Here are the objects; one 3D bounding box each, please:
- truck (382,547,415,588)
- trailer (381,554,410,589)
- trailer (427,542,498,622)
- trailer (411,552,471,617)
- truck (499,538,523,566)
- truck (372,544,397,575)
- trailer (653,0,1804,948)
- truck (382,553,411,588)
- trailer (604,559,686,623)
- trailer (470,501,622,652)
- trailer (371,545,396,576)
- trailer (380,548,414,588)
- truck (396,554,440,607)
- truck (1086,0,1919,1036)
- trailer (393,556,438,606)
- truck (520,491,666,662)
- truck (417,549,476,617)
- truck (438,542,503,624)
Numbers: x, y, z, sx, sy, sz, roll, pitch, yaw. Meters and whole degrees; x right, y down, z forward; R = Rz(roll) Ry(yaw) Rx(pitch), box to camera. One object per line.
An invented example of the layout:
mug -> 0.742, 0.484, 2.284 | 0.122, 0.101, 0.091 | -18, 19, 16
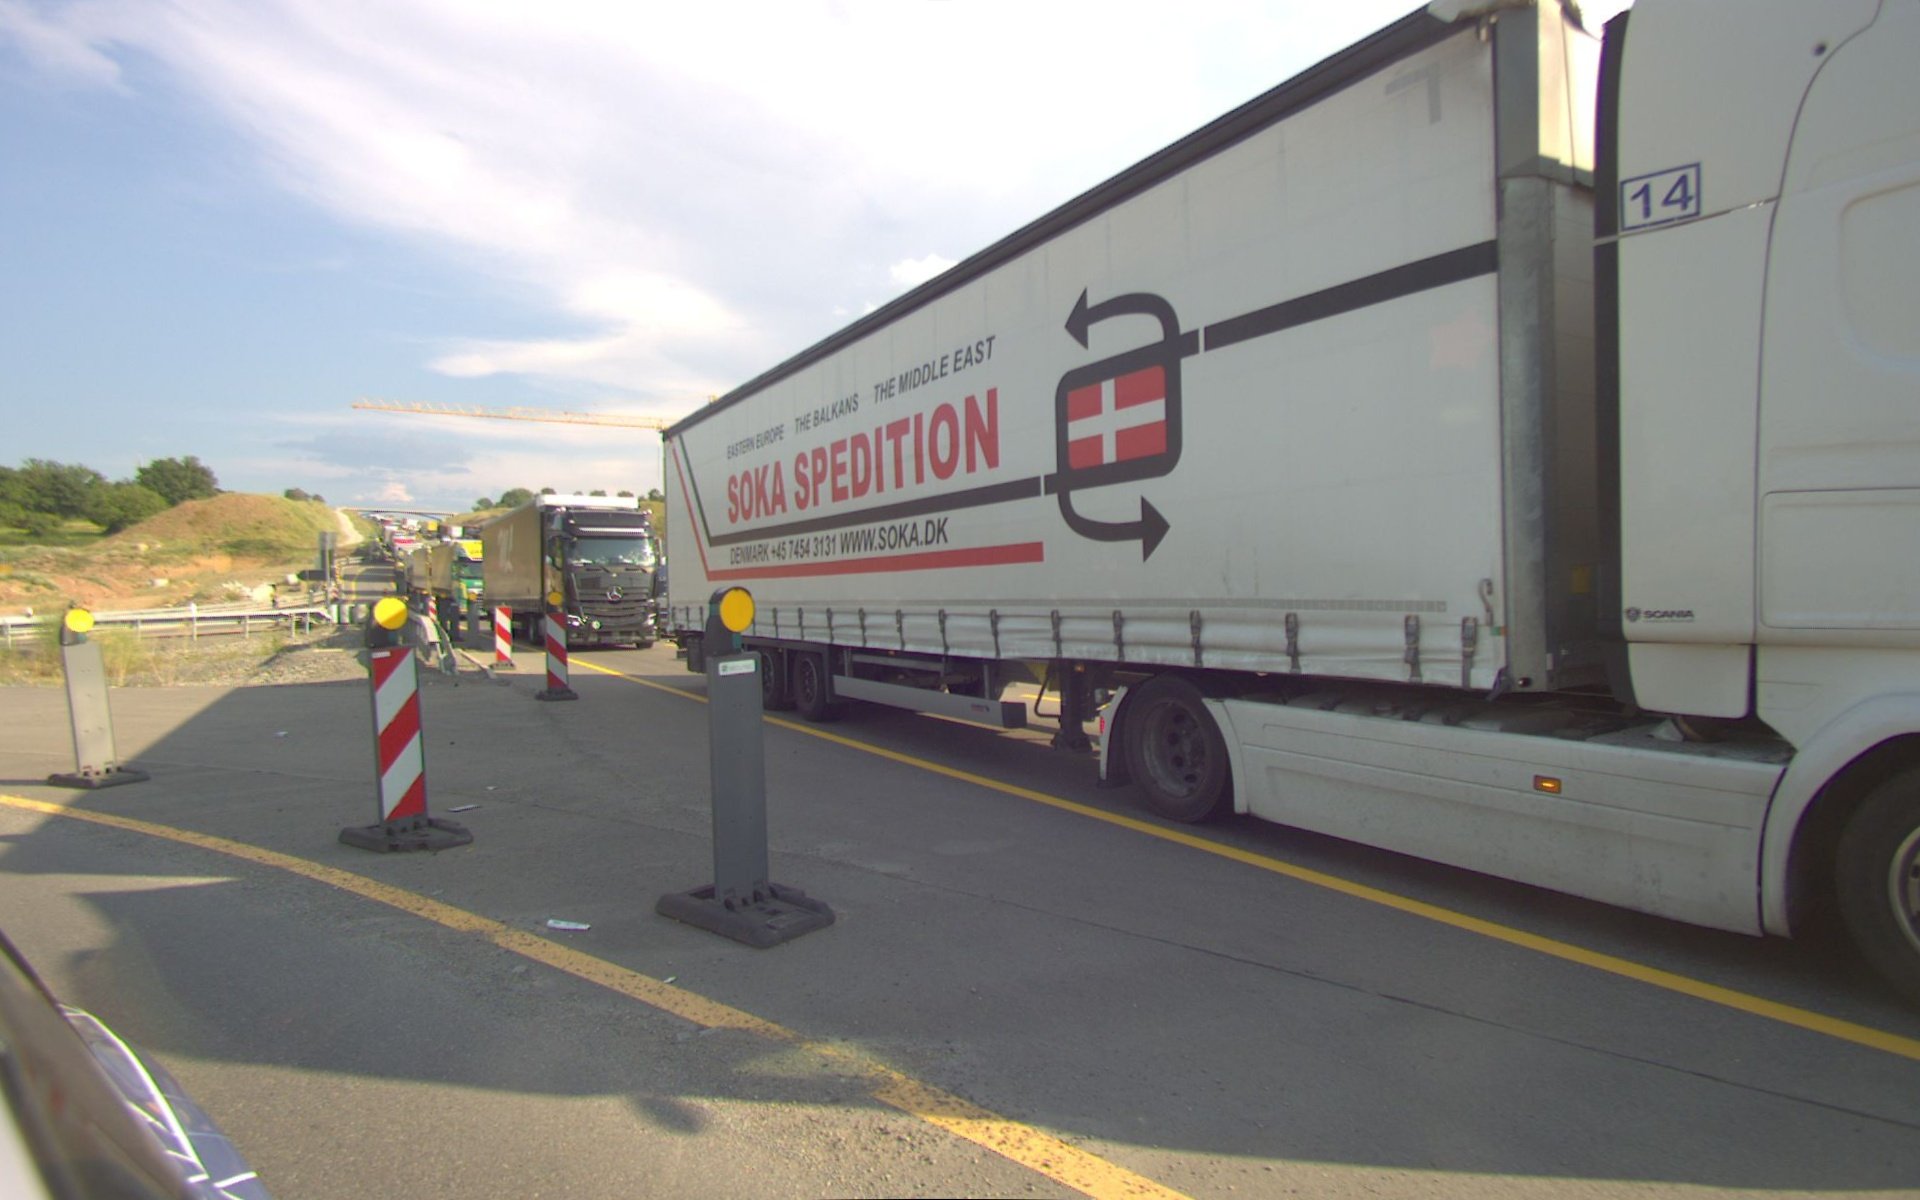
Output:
truck -> -63.403, -3.615, 114.224 | 3.060, 4.346, 6.918 | 2, 0, -30
trailer -> -77.160, -3.798, 138.179 | 3.060, 4.346, 14.295 | 2, 0, -30
trailer -> -28.212, -0.945, 57.005 | 2.446, 3.988, 14.018 | 0, 1, -31
trailer -> -38.508, -1.086, 74.788 | 3.060, 4.346, 14.295 | 2, 0, -30
truck -> -84.248, -8.952, 190.098 | 3.511, 4.445, 13.218 | 1, 0, -22
truck -> -85.202, -5.944, 149.842 | 3.060, 4.346, 6.918 | 2, 0, -30
trailer -> -0.156, -0.616, 10.537 | 2.446, 3.907, 13.671 | 0, 1, -32
truck -> -73.549, -3.780, 132.038 | 3.060, 4.346, 6.918 | 2, 0, -30
trailer -> -20.606, -0.559, 65.766 | 2.965, 3.780, 9.599 | 2, 0, -30
trailer -> -14.270, -0.701, 33.939 | 2.446, 4.092, 13.671 | 0, 1, -32
trailer -> -89.724, -6.040, 157.467 | 3.060, 4.346, 14.295 | 2, 0, -30
trailer -> -67.430, -3.683, 121.032 | 3.060, 4.346, 14.295 | 2, 0, -30
truck -> -47.484, -1.657, 88.572 | 3.060, 4.346, 6.918 | 2, 0, -30
truck -> 3.435, -0.627, 4.652 | 2.446, 3.907, 6.029 | 0, 1, -32
trailer -> -51.413, -1.698, 95.321 | 3.060, 4.346, 14.295 | 2, 0, -30
truck -> -10.117, -0.597, 27.520 | 2.446, 4.090, 6.028 | 0, 1, -33
truck -> -34.766, -1.089, 68.397 | 3.060, 4.346, 6.918 | 2, 0, -30
truck -> -25.081, -0.848, 51.704 | 2.446, 3.931, 6.030 | 0, 1, -31
